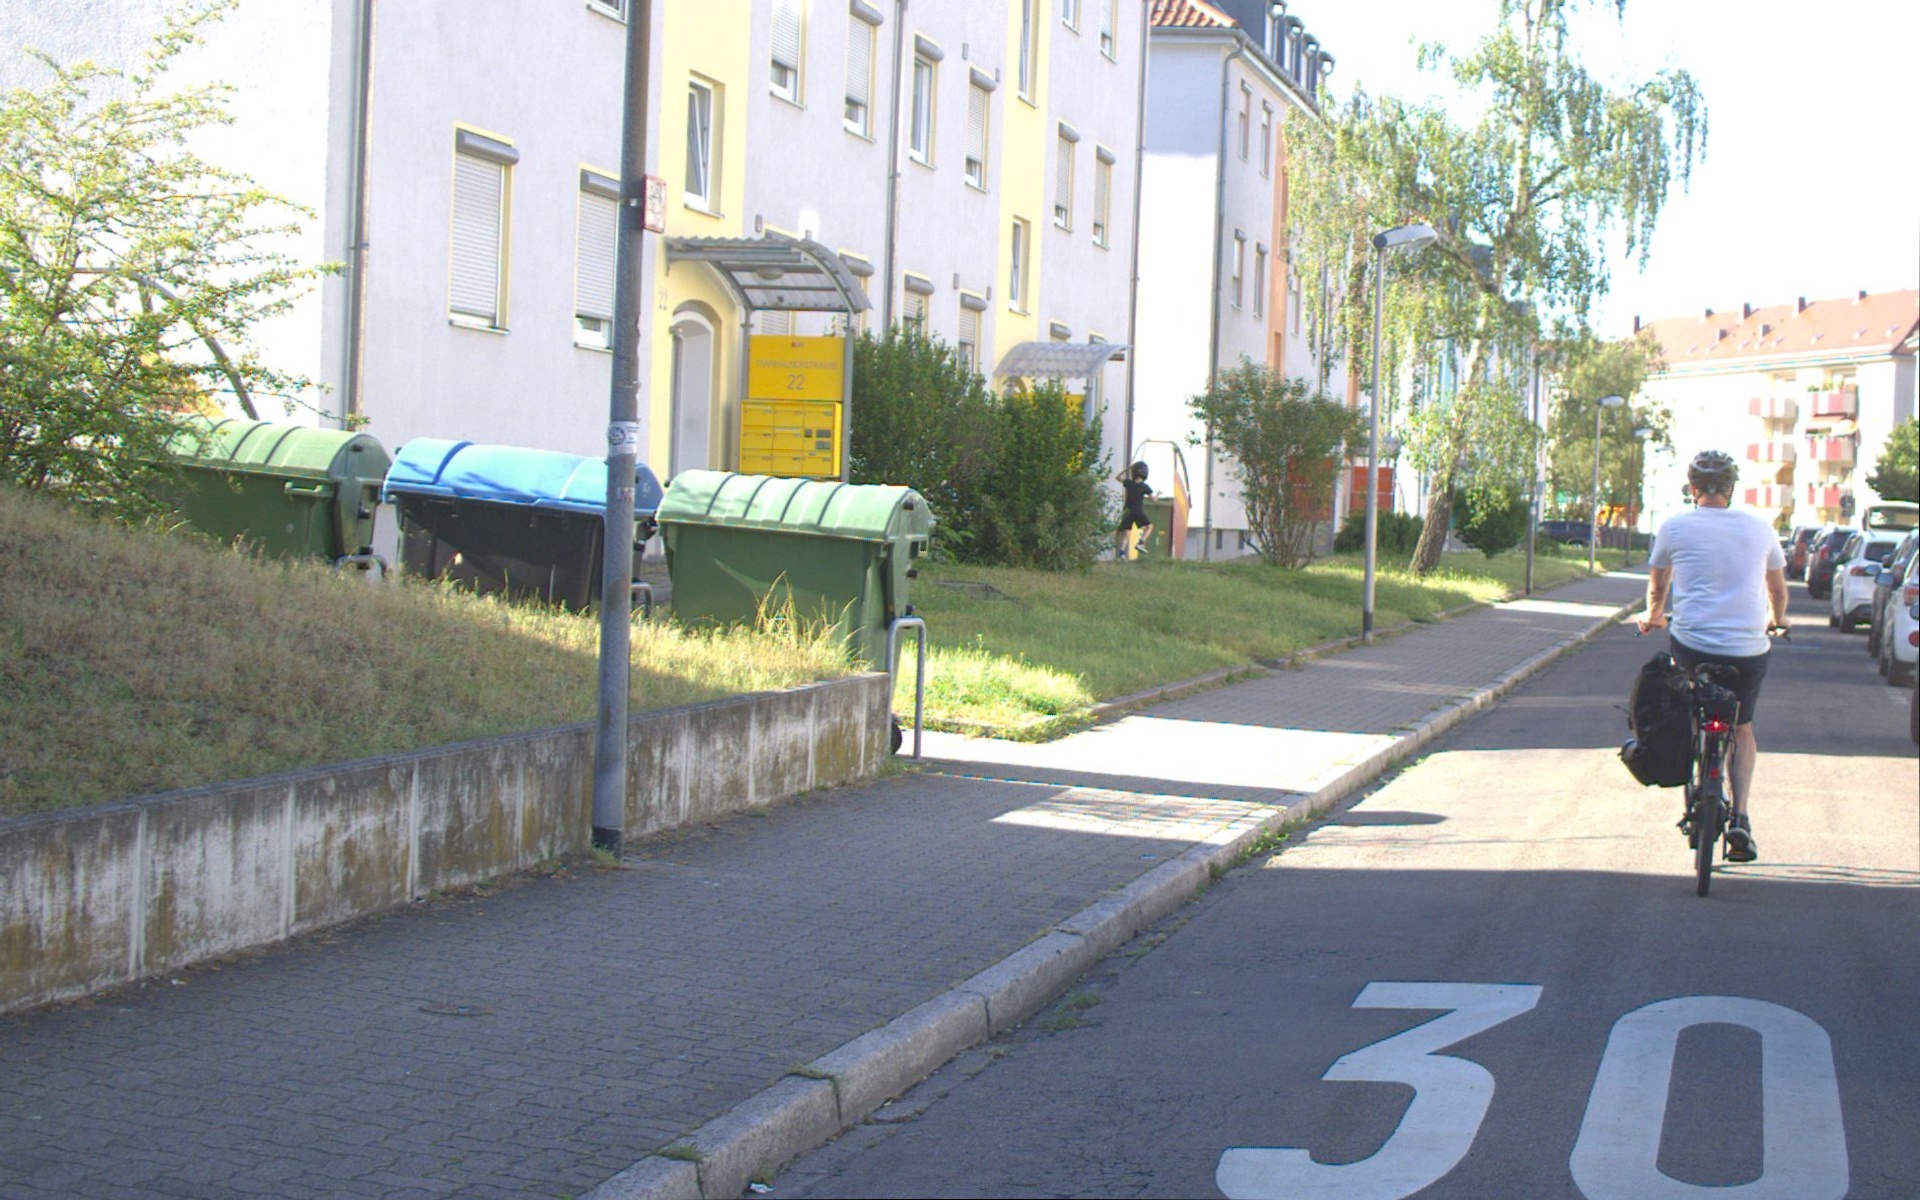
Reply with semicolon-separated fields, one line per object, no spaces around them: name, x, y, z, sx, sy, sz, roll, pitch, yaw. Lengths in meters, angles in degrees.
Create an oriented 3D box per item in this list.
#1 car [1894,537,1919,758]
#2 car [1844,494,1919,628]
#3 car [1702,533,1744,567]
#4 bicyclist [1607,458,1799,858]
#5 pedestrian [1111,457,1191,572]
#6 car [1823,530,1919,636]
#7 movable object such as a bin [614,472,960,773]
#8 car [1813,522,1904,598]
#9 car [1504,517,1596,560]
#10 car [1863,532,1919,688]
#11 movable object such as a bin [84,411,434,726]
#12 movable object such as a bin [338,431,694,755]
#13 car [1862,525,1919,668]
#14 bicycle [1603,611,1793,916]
car;7.297;0.341;22.964;1.758;1.427;3.627;3;2;12
car;15.824;-0.662;57.911;1.620;2.136;3.998;3;2;13
car;37.797;-2.496;170.368;1.757;1.570;3.902;2;2;9
bicyclist;3.093;0.225;14.328;0.694;1.590;0.791;3;1;12
pedestrian;2.609;-1.159;46.900;0.864;1.516;1.067;3;1;13
car;14.184;-0.267;52.314;1.895;1.491;4.090;3;2;13
movable object such as a bin;-0.898;0.099;18.276;1.493;1.473;1.264;3;1;13
car;20.226;-0.919;77.502;1.807;1.599;4.402;3;2;13
car;26.832;-2.798;156.377;3.989;1.795;1.999;2;1;12
car;10.121;0.114;34.746;1.632;1.485;3.621;5;2;12
movable object such as a bin;-3.818;-0.182;18.832;1.460;1.607;1.190;3;1;13
movable object such as a bin;-2.371;-0.053;18.528;1.500;1.617;1.263;3;1;13
car;11.413;-0.043;39.514;1.836;1.552;3.998;3;2;13
bicycle;3.073;0.642;14.368;0.661;1.123;1.765;4;2;12
